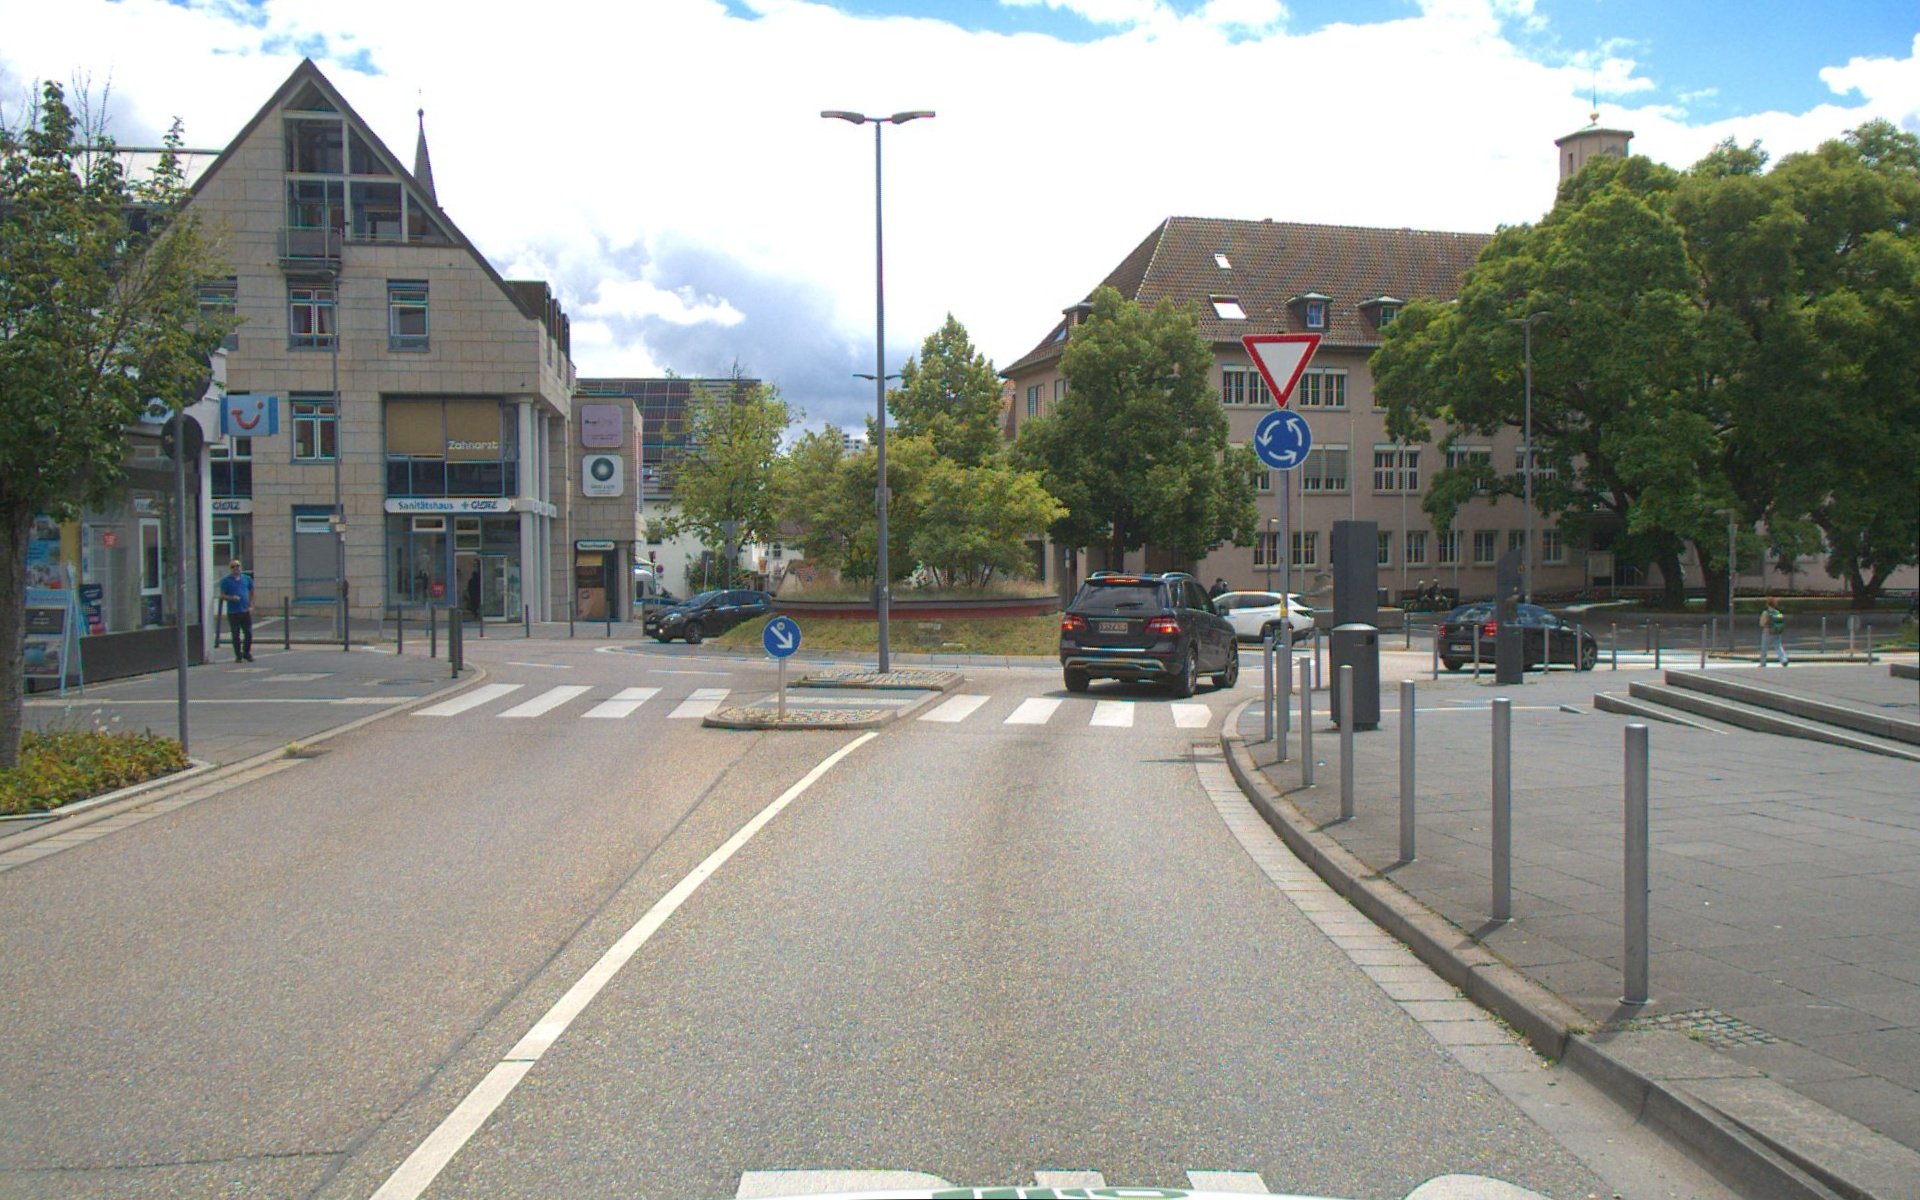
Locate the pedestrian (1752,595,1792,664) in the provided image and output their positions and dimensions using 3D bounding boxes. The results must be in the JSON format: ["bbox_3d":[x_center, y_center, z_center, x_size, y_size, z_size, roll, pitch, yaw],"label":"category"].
[{"bbox_3d":[18.958,0.681,38.620,0.539,1.540,0.788,-1,2,1],"label":"pedestrian"}]

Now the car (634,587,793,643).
[{"bbox_3d":[-6.805,0.445,45.814,4.063,1.444,1.686,1,-2,-31],"label":"car"}]

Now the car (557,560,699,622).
[{"bbox_3d":[-15.457,-0.377,77.077,6.201,2.605,2.190,1,-3,-24],"label":"car"}]

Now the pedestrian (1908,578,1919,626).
[{"bbox_3d":[32.039,0.068,55.060,0.606,1.604,0.578,0,0,-25],"label":"pedestrian"}]

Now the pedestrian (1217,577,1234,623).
[{"bbox_3d":[9.738,-0.009,60.652,0.560,1.636,0.438,2,4,11],"label":"pedestrian"}]

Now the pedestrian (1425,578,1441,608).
[{"bbox_3d":[19.786,-0.286,69.207,0.478,1.243,0.579,1,0,33],"label":"pedestrian"}]

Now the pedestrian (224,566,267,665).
[{"bbox_3d":[-11.851,0.250,27.448,0.557,1.631,0.604,0,1,-13],"label":"pedestrian"}]

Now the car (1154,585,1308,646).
[{"bbox_3d":[7.722,0.427,47.047,4.164,1.604,1.851,-2,0,13],"label":"car"}]

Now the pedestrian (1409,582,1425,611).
[{"bbox_3d":[19.060,-0.159,69.003,0.478,1.203,0.579,1,0,33],"label":"pedestrian"}]

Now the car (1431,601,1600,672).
[{"bbox_3d":[11.899,0.732,35.343,3.795,1.407,1.593,0,1,-37],"label":"car"}]

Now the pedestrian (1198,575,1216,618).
[{"bbox_3d":[9.091,-0.129,60.900,0.623,1.549,0.578,1,4,9],"label":"pedestrian"}]

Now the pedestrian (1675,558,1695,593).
[{"bbox_3d":[31.668,-1.081,72.265,0.683,1.519,0.815,1,0,16],"label":"pedestrian"}]

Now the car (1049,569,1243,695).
[{"bbox_3d":[2.959,0.408,25.428,1.985,1.757,4.434,0,1,20],"label":"car"}]
